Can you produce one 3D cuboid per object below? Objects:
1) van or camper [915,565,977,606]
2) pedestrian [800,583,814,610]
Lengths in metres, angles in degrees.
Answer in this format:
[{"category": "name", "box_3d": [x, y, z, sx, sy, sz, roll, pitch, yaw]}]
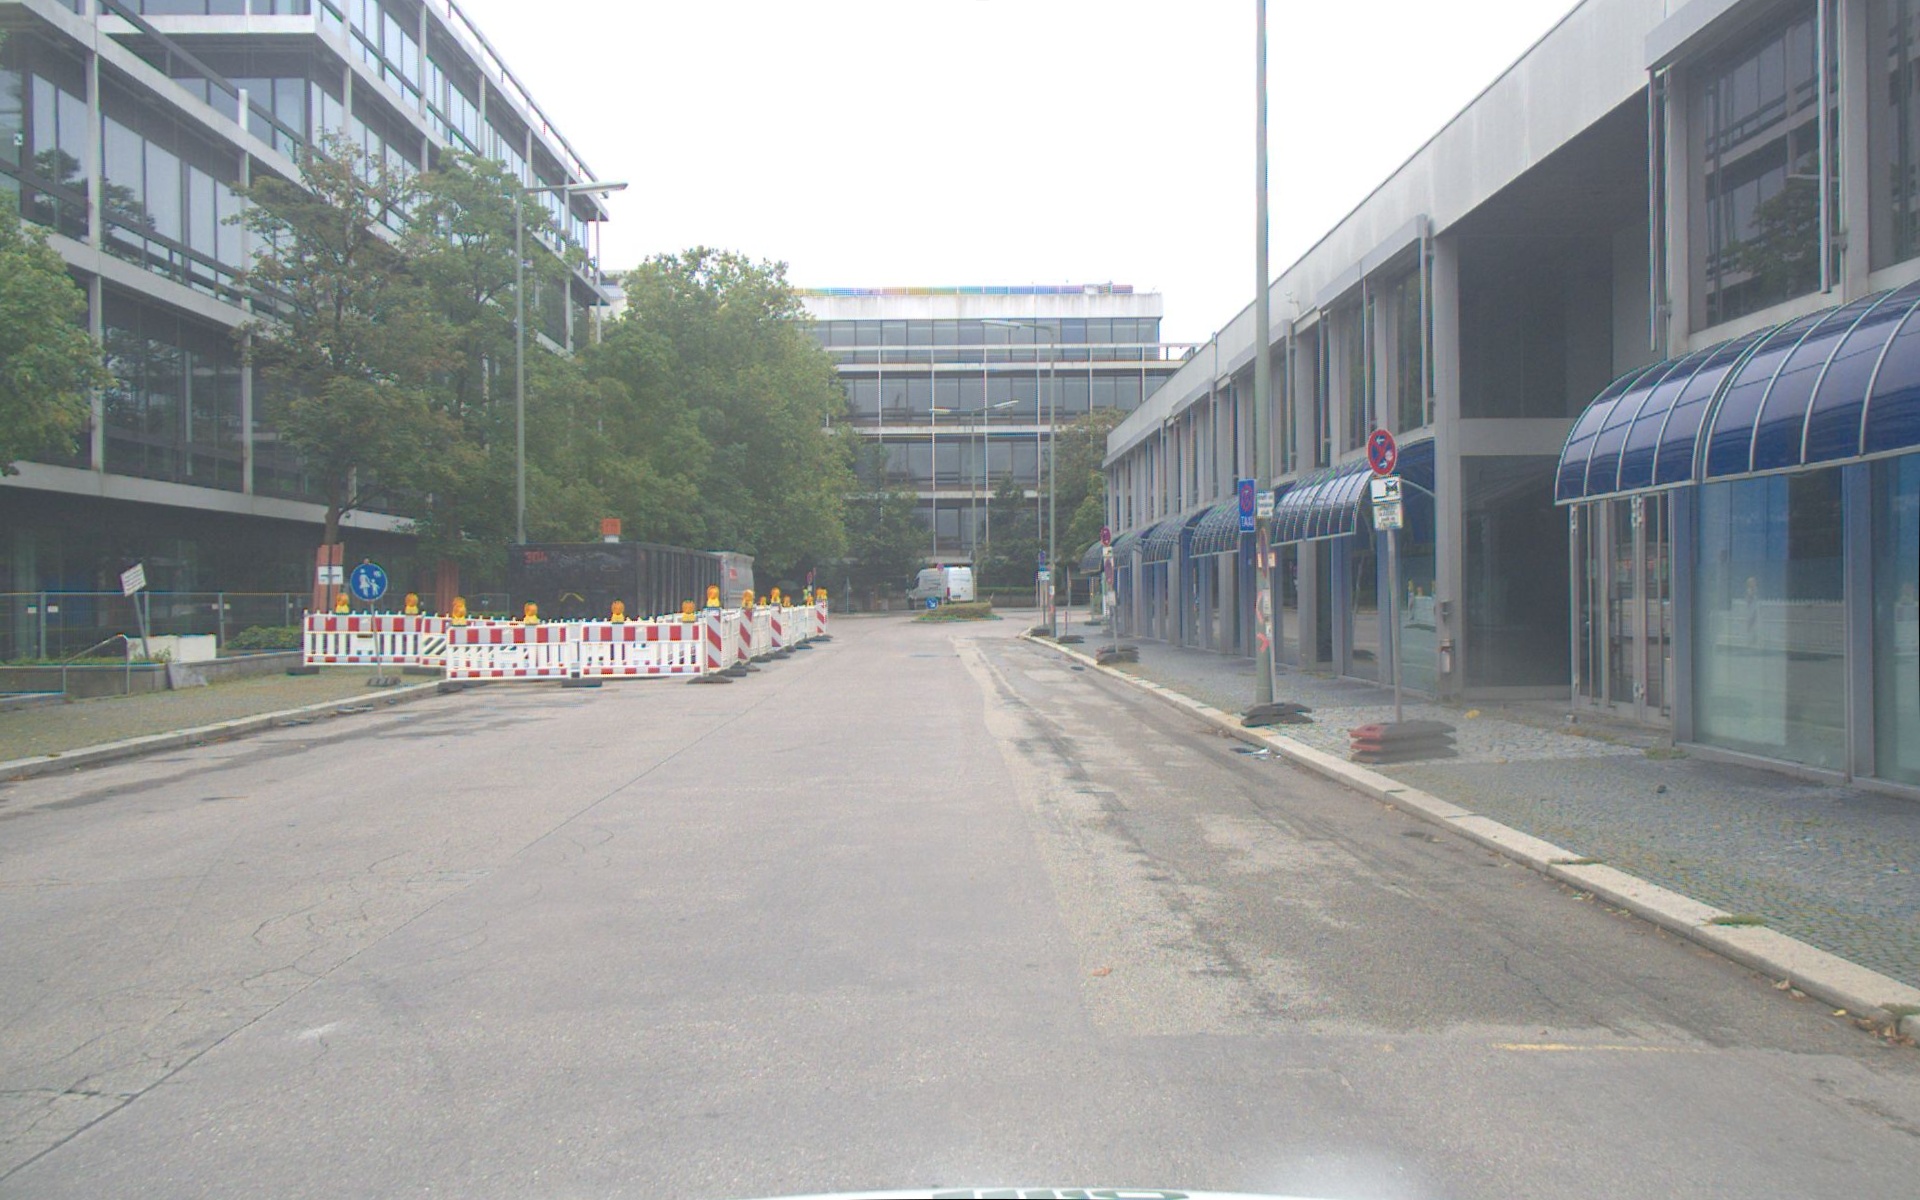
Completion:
[{"category": "van or camper", "box_3d": [-0.948, -0.940, 106.549, 2.060, 2.535, 5.024, -1, 1, -26]}, {"category": "pedestrian", "box_3d": [-9.700, -0.248, 105.147, 0.730, 1.706, 0.678, -1, 0, -20]}]
